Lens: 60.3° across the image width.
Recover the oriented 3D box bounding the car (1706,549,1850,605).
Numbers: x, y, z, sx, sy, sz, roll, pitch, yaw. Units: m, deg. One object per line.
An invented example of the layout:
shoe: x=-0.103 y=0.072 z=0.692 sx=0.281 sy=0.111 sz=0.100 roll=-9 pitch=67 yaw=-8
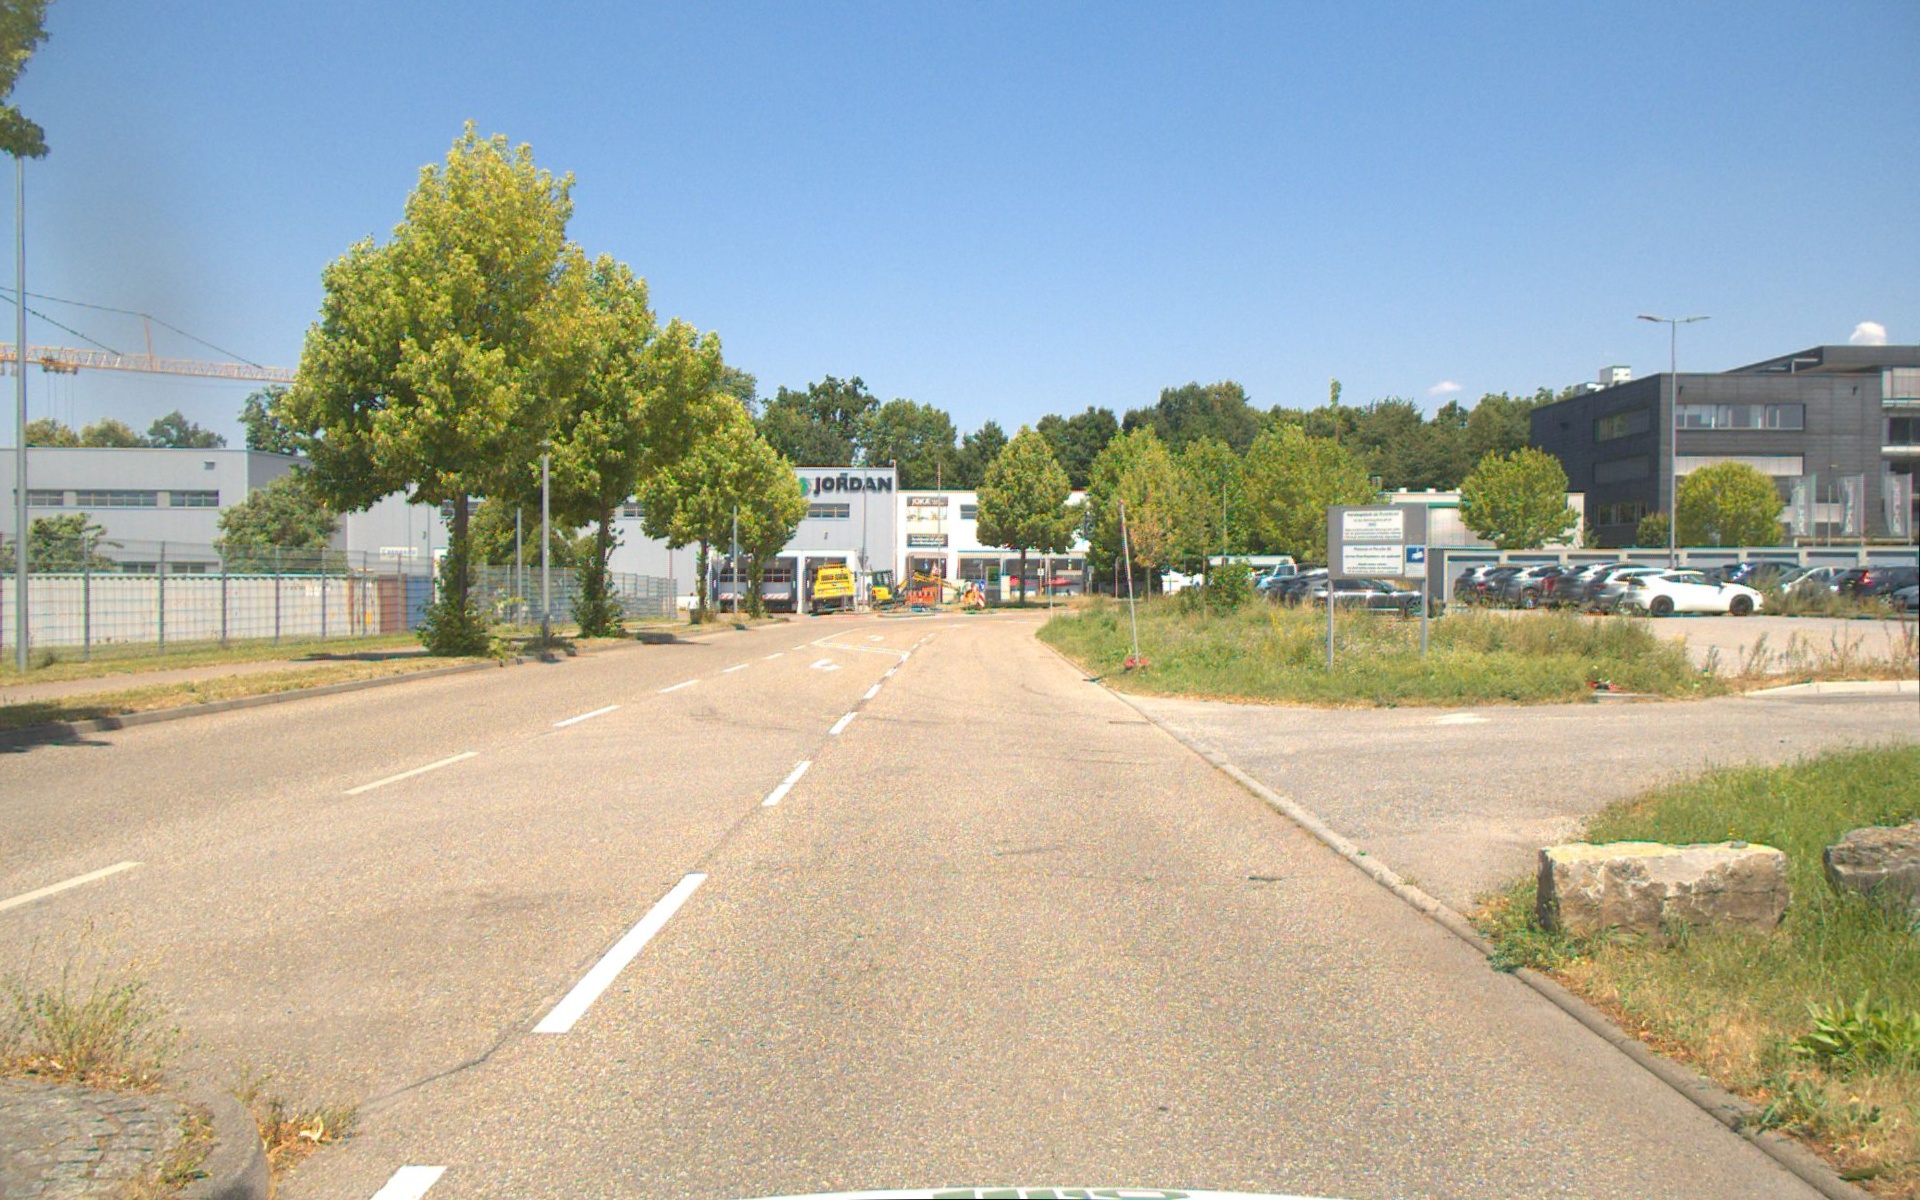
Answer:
car: x=26.925 y=-0.771 z=54.530 sx=3.908 sy=1.623 sz=1.768 roll=-2 pitch=4 yaw=-4

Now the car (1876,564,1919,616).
car: x=27.872 y=-0.333 z=45.955 sx=3.908 sy=1.293 sz=1.768 roll=-2 pitch=4 yaw=-4

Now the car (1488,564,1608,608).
car: x=22.091 y=-0.550 z=62.225 sx=3.908 sy=1.424 sz=1.768 roll=-2 pitch=4 yaw=-4

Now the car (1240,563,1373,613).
car: x=11.690 y=-0.422 z=55.915 sx=4.080 sy=1.424 sz=1.768 roll=-2 pitch=4 yaw=-4

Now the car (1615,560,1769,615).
car: x=22.107 y=-0.400 z=50.021 sx=3.907 sy=1.424 sz=1.769 roll=-2 pitch=4 yaw=-2

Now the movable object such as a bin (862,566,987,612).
movable object such as a bin: x=-2.207 y=-0.727 z=104.855 sx=7.365 sy=2.542 sz=3.671 roll=-1 pitch=4 yaw=8

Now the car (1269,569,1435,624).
car: x=11.826 y=-0.118 z=50.080 sx=4.606 sy=1.424 sz=1.923 roll=-2 pitch=4 yaw=2

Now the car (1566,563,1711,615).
car: x=21.646 y=-0.356 z=52.828 sx=3.908 sy=1.424 sz=1.768 roll=-2 pitch=4 yaw=-4

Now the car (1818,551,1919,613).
car: x=27.719 y=-0.560 z=48.826 sx=3.908 sy=1.623 sz=1.768 roll=-2 pitch=4 yaw=-4

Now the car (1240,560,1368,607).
car: x=12.047 y=-0.583 z=58.056 sx=4.080 sy=1.424 sz=1.768 roll=-2 pitch=4 yaw=-4

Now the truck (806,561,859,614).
truck: x=-8.163 y=-0.832 z=105.123 sx=2.884 sy=2.935 sz=5.801 roll=-2 pitch=4 yaw=-8

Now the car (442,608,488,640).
car: x=-30.623 y=1.466 z=102.410 sx=1.956 sy=1.578 sz=3.996 roll=-2 pitch=4 yaw=-7

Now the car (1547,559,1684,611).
car: x=21.864 y=-0.516 z=55.257 sx=3.908 sy=1.515 sz=1.768 roll=-2 pitch=4 yaw=-4

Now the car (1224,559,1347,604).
car: x=11.821 y=-0.694 z=60.174 sx=4.080 sy=1.424 sz=1.768 roll=-2 pitch=4 yaw=-4

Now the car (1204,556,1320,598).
car: x=11.636 y=-0.903 z=63.905 sx=4.080 sy=1.424 sz=1.768 roll=-2 pitch=4 yaw=-4

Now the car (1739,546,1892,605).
car: x=26.752 y=-0.790 z=51.781 sx=3.908 sy=1.623 sz=1.768 roll=-2 pitch=4 yaw=-4

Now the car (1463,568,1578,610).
car: x=22.011 y=-0.454 z=64.975 sx=3.908 sy=1.424 sz=1.768 roll=-2 pitch=4 yaw=-4

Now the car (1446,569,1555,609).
car: x=22.206 y=-0.469 z=68.011 sx=3.908 sy=1.424 sz=1.768 roll=-2 pitch=4 yaw=-4

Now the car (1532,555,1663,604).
car: x=22.309 y=-0.742 z=57.967 sx=3.908 sy=1.486 sz=1.768 roll=-2 pitch=4 yaw=-4

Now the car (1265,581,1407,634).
car: x=12.006 y=0.234 z=52.924 sx=4.080 sy=1.424 sz=1.768 roll=-2 pitch=4 yaw=-4
